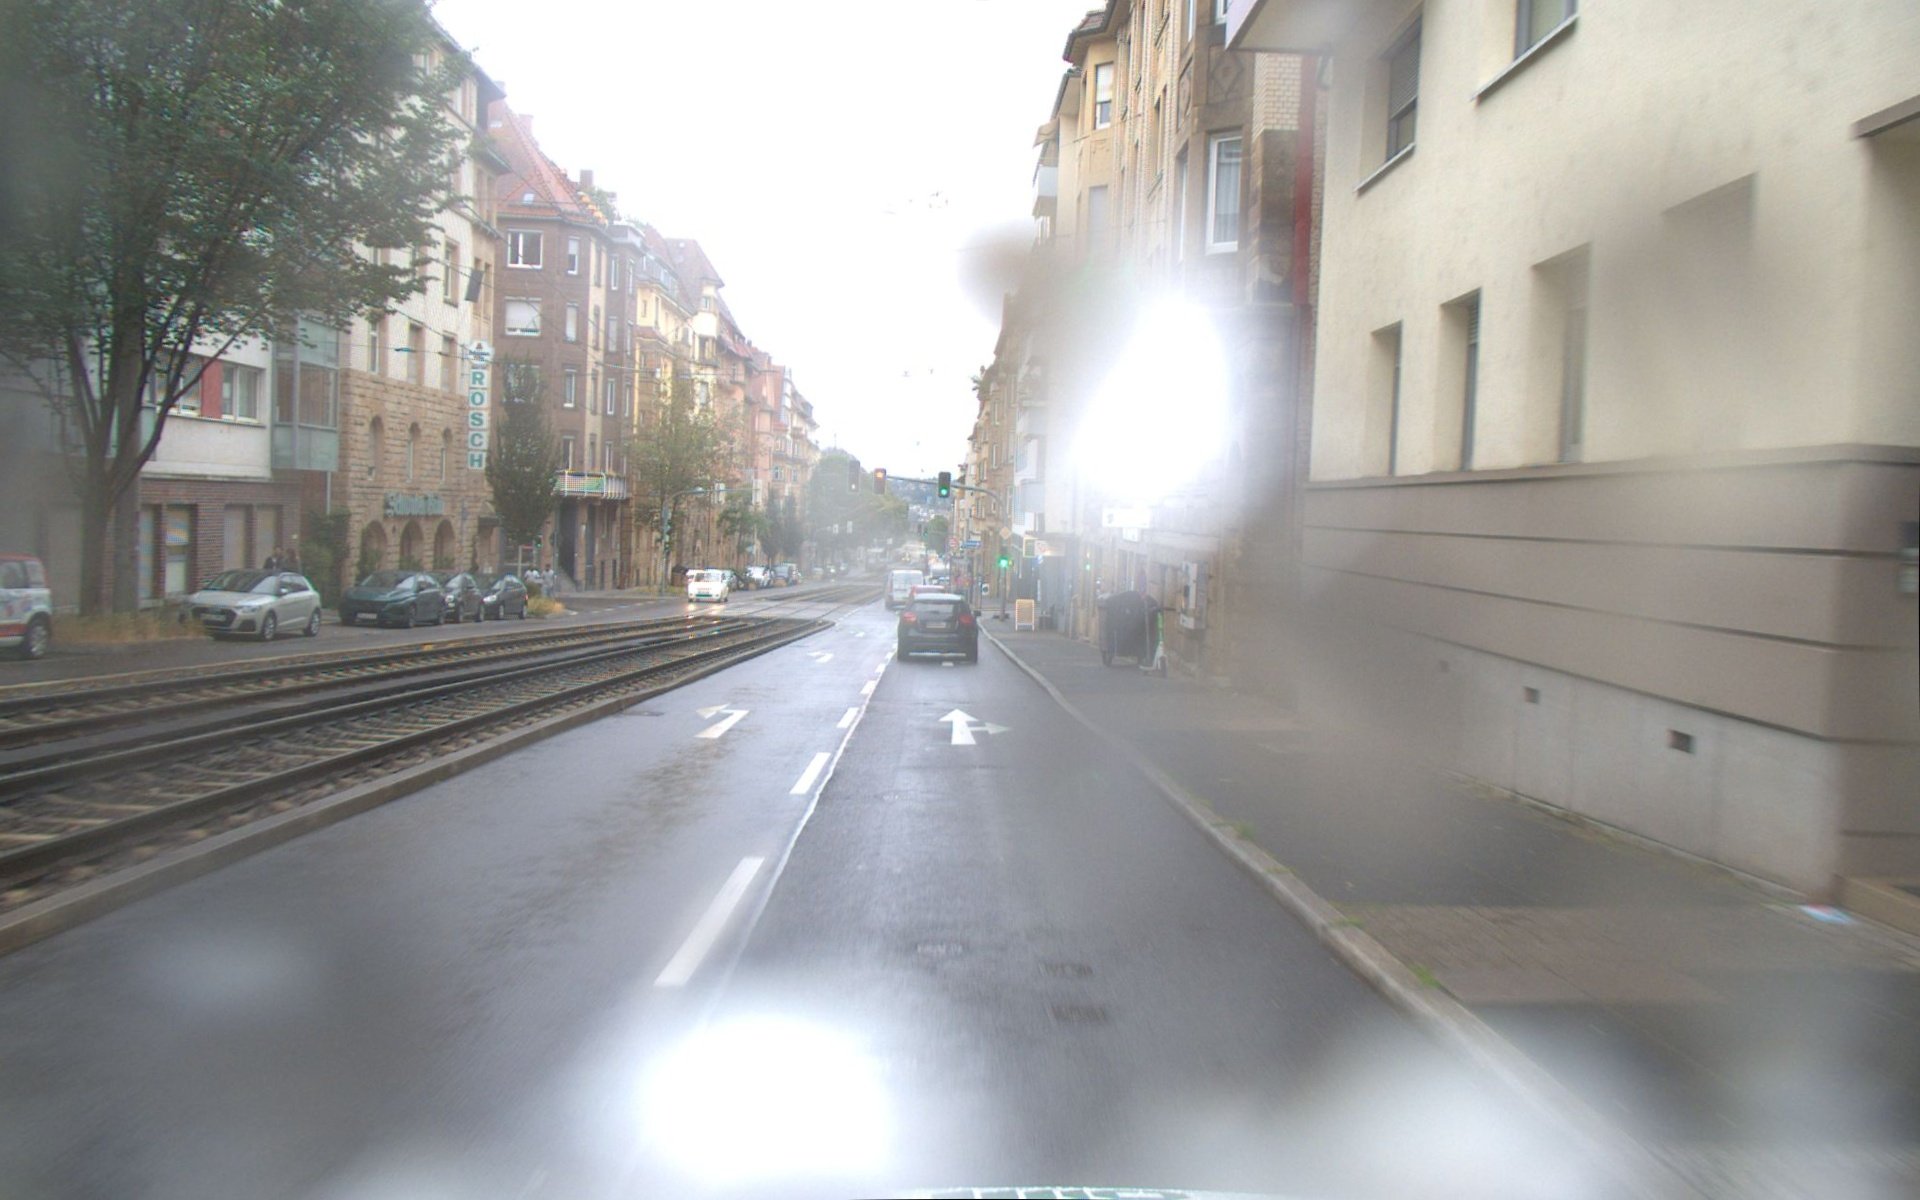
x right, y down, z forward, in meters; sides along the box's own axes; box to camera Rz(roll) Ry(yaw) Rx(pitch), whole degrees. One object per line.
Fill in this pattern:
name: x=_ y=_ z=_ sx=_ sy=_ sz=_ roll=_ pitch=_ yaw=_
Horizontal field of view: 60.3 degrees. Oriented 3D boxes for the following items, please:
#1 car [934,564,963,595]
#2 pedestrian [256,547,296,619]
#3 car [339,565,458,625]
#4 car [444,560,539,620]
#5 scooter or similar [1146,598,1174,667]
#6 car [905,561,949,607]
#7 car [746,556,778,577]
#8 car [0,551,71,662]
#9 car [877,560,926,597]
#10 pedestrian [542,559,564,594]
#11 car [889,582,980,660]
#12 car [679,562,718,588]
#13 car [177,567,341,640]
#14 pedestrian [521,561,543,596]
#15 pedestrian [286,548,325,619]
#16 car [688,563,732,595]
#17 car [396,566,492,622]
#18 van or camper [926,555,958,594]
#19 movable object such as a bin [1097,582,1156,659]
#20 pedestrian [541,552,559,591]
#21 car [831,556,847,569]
car: x=-0.720 y=-1.297 z=102.818 sx=1.733 sy=1.839 sz=4.482 roll=2 pitch=1 yaw=-1
pedestrian: x=-17.587 y=-0.438 z=42.521 sx=0.659 sy=1.803 sz=0.782 roll=2 pitch=0 yaw=-1
car: x=-14.853 y=-0.158 z=43.967 sx=1.764 sy=1.480 sz=4.429 roll=1 pitch=1 yaw=-2
car: x=-15.217 y=-0.348 z=53.924 sx=1.847 sy=1.757 sz=3.741 roll=4 pitch=1 yaw=2
scooter or similar: x=3.381 y=0.546 z=27.967 sx=0.205 sy=1.131 sz=0.889 roll=0 pitch=-1 yaw=-10
car: x=-1.203 y=-0.617 z=61.596 sx=1.504 sy=1.536 sz=4.000 roll=2 pitch=2 yaw=0
car: x=-15.485 y=-2.603 z=129.474 sx=1.747 sy=1.617 sz=4.353 roll=0 pitch=1 yaw=2
car: x=-14.665 y=0.078 z=23.637 sx=1.740 sy=1.596 sz=4.157 roll=1 pitch=1 yaw=-2
car: x=-2.929 y=-1.081 z=81.631 sx=1.886 sy=1.684 sz=3.992 roll=3 pitch=1 yaw=-9
pedestrian: x=-16.952 y=-0.971 z=68.889 sx=0.739 sy=1.446 sz=0.645 roll=1 pitch=1 yaw=0
car: x=-0.595 y=0.421 z=36.712 sx=1.907 sy=1.592 sz=3.642 roll=1 pitch=1 yaw=-2
car: x=-15.740 y=-1.499 z=99.659 sx=1.729 sy=1.512 sz=4.000 roll=1 pitch=1 yaw=0
car: x=-14.780 y=0.045 z=35.114 sx=1.668 sy=1.358 sz=4.130 roll=4 pitch=1 yaw=-1
pedestrian: x=-17.783 y=-0.882 z=68.752 sx=0.739 sy=1.446 sz=0.645 roll=1 pitch=1 yaw=1
pedestrian: x=-16.835 y=-0.426 z=42.544 sx=0.659 sy=1.803 sz=0.782 roll=2 pitch=0 yaw=-1
car: x=-12.500 y=-1.054 z=82.858 sx=1.594 sy=1.507 sz=3.581 roll=1 pitch=1 yaw=0
car: x=-15.108 y=-0.211 z=48.625 sx=1.771 sy=1.524 sz=3.525 roll=2 pitch=1 yaw=-2
van or camper: x=-1.219 y=-1.717 z=111.277 sx=2.022 sy=2.512 sz=6.118 roll=1 pitch=1 yaw=-1
movable object such as a bin: x=3.259 y=0.384 z=32.560 sx=0.988 sy=1.476 sz=1.393 roll=-1 pitch=1 yaw=-1
pedestrian: x=-17.093 y=-1.194 z=68.939 sx=0.506 sy=1.598 sz=0.644 roll=1 pitch=0 yaw=3
car: x=-17.693 y=-5.552 z=242.054 sx=1.953 sy=1.825 sz=4.000 roll=2 pitch=1 yaw=-1
